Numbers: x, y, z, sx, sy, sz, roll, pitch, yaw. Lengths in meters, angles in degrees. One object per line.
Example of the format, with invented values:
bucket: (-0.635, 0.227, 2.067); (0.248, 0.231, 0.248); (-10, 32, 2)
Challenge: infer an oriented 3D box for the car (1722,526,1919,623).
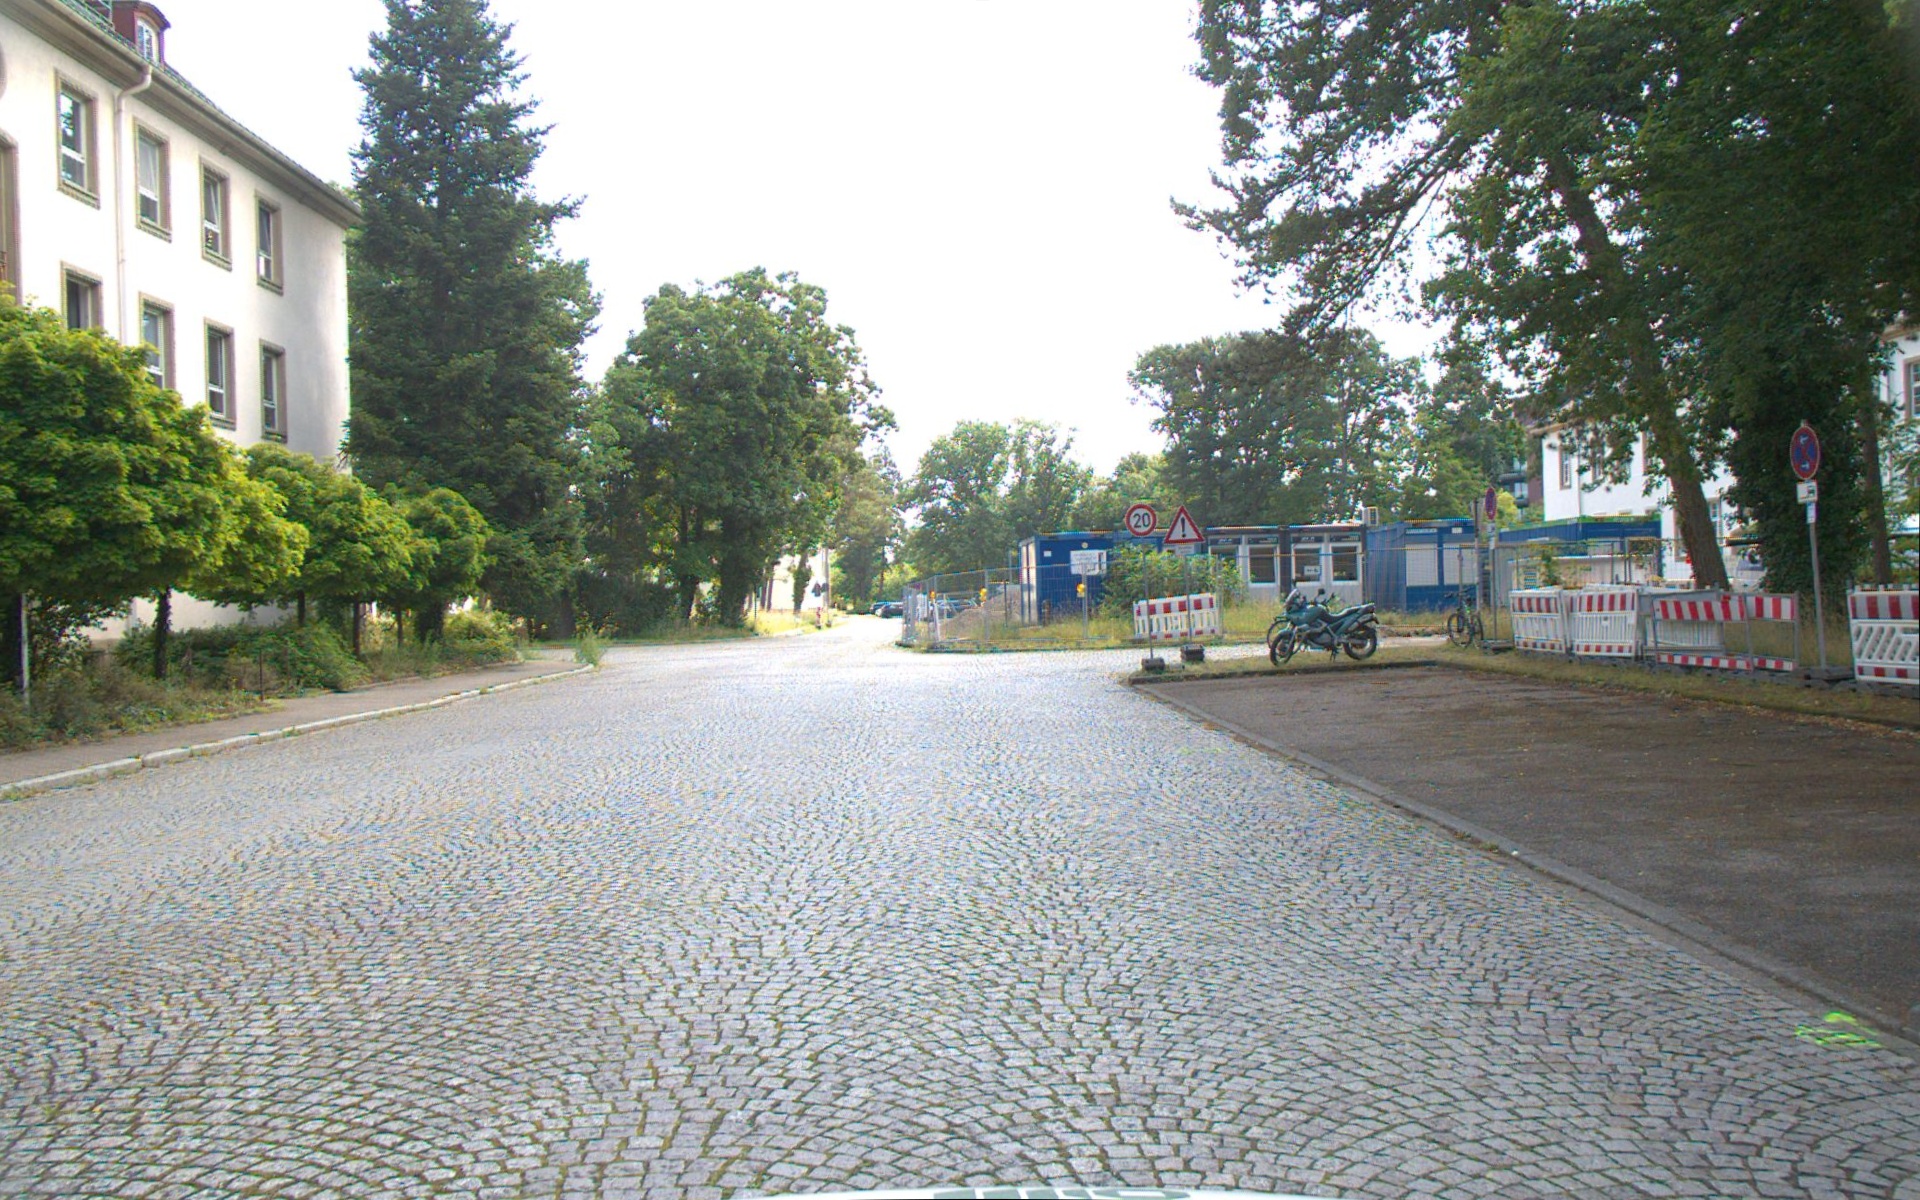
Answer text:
car: (19.569, -0.596, 36.322); (4.760, 1.954, 1.906); (-2, 1, -1)

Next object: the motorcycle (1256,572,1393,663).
motorcycle: (6.549, 0.302, 29.767); (2.233, 1.511, 0.756); (-3, 0, -7)

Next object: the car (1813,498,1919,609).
car: (23.593, -1.104, 40.875); (1.952, 2.601, 5.910); (-1, 0, 0)

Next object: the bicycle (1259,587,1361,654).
bicycle: (6.835, 0.394, 32.283); (1.858, 1.218, 0.656); (-3, 0, 18)

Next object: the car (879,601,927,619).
car: (-5.825, 1.015, 168.832); (4.689, 1.669, 1.997); (-2, 0, -7)

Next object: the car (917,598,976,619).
car: (-1.023, 0.676, 126.542); (4.309, 1.537, 2.001); (-1, 0, 6)

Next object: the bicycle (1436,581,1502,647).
bicycle: (9.657, 0.245, 31.431); (0.629, 1.189, 1.905); (-2, 0, 0)

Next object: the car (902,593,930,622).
car: (-3.227, 0.554, 120.663); (1.954, 2.049, 4.088); (-2, 0, -3)

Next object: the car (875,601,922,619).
car: (-6.359, 1.033, 171.916); (4.689, 1.669, 1.997); (-2, 0, -7)

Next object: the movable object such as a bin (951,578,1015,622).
movable object such as a bin: (1.460, -0.040, 104.387); (2.087, 2.638, 4.786); (-2, 0, 27)
